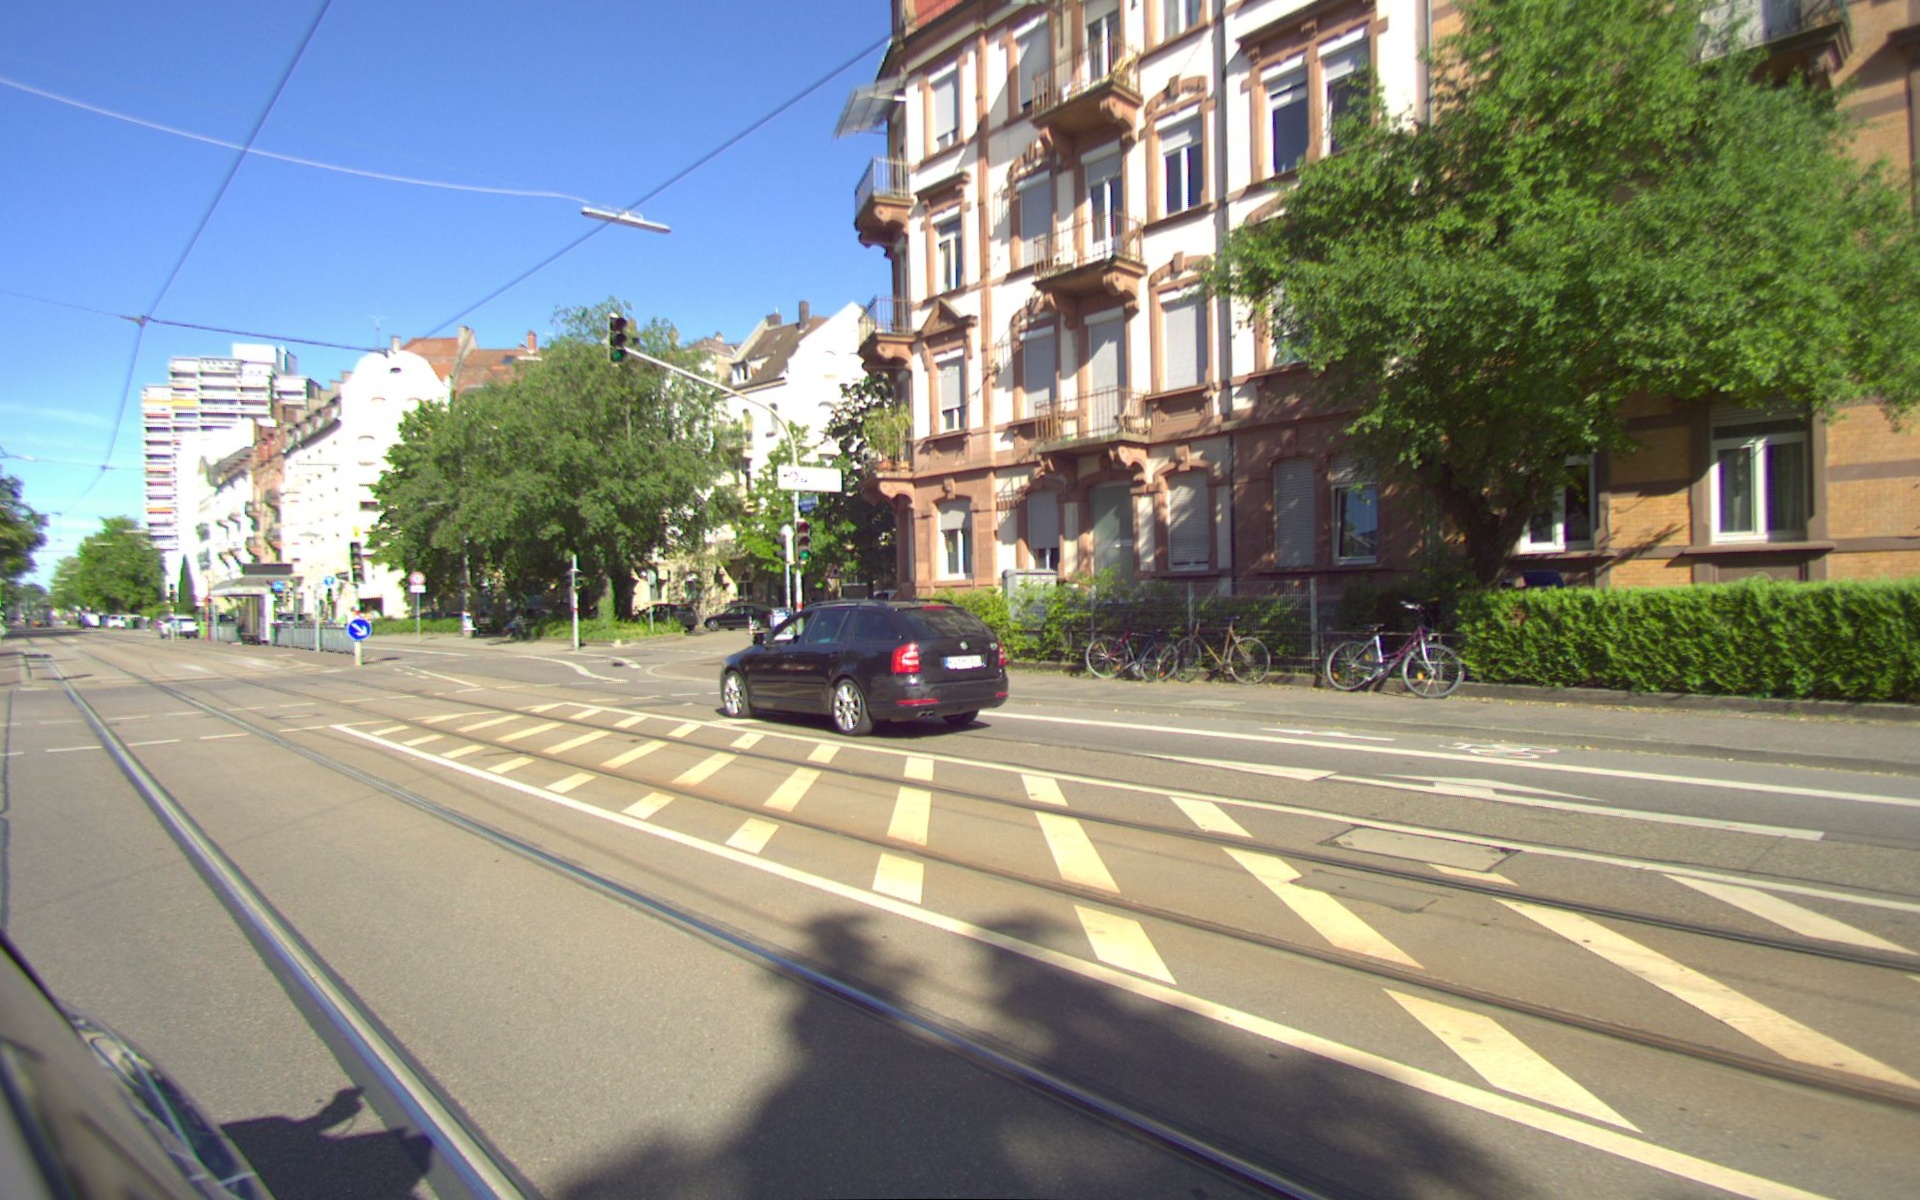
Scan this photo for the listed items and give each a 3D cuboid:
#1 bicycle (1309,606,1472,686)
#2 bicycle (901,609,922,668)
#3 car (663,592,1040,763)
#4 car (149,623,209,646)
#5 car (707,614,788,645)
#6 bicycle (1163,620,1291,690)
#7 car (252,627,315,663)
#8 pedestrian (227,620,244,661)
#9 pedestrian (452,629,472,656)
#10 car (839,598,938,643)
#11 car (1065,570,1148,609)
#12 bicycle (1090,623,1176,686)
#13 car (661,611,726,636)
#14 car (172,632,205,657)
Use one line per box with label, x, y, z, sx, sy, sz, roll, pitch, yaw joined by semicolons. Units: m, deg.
bicycle;5.418;0.556;12.849;0.337;0.933;1.946;-4;2;-39
bicycle;-1.202;0.936;25.240;0.414;1.305;2.047;-3;2;-2
car;-1.525;0.784;12.172;1.811;1.529;4.971;-6;3;-43
car;-68.159;2.981;88.384;1.818;1.600;3.835;4;6;41
car;-11.308;1.555;53.837;3.991;1.554;1.726;-1;0;23
bicycle;3.863;0.775;14.795;0.337;0.933;1.946;-4;2;-39
car;-34.300;2.241;51.291;1.875;1.630;4.267;-1;0;-45
pedestrian;-32.659;1.810;45.618;0.459;1.798;0.674;-2;1;-44
pedestrian;-25.612;2.177;52.043;0.649;1.291;0.725;-5;2;-43
car;-3.737;1.013;52.694;4.778;1.956;1.930;-4;2;-12
car;6.916;-0.519;47.791;3.397;1.613;1.720;-4;2;-21
bicycle;2.737;0.846;16.130;0.337;0.933;1.455;-4;2;-39
car;-14.887;1.335;56.421;3.446;1.224;1.511;-2;2;32
car;-55.132;3.156;72.318;1.669;1.551;3.805;-3;1;-40
